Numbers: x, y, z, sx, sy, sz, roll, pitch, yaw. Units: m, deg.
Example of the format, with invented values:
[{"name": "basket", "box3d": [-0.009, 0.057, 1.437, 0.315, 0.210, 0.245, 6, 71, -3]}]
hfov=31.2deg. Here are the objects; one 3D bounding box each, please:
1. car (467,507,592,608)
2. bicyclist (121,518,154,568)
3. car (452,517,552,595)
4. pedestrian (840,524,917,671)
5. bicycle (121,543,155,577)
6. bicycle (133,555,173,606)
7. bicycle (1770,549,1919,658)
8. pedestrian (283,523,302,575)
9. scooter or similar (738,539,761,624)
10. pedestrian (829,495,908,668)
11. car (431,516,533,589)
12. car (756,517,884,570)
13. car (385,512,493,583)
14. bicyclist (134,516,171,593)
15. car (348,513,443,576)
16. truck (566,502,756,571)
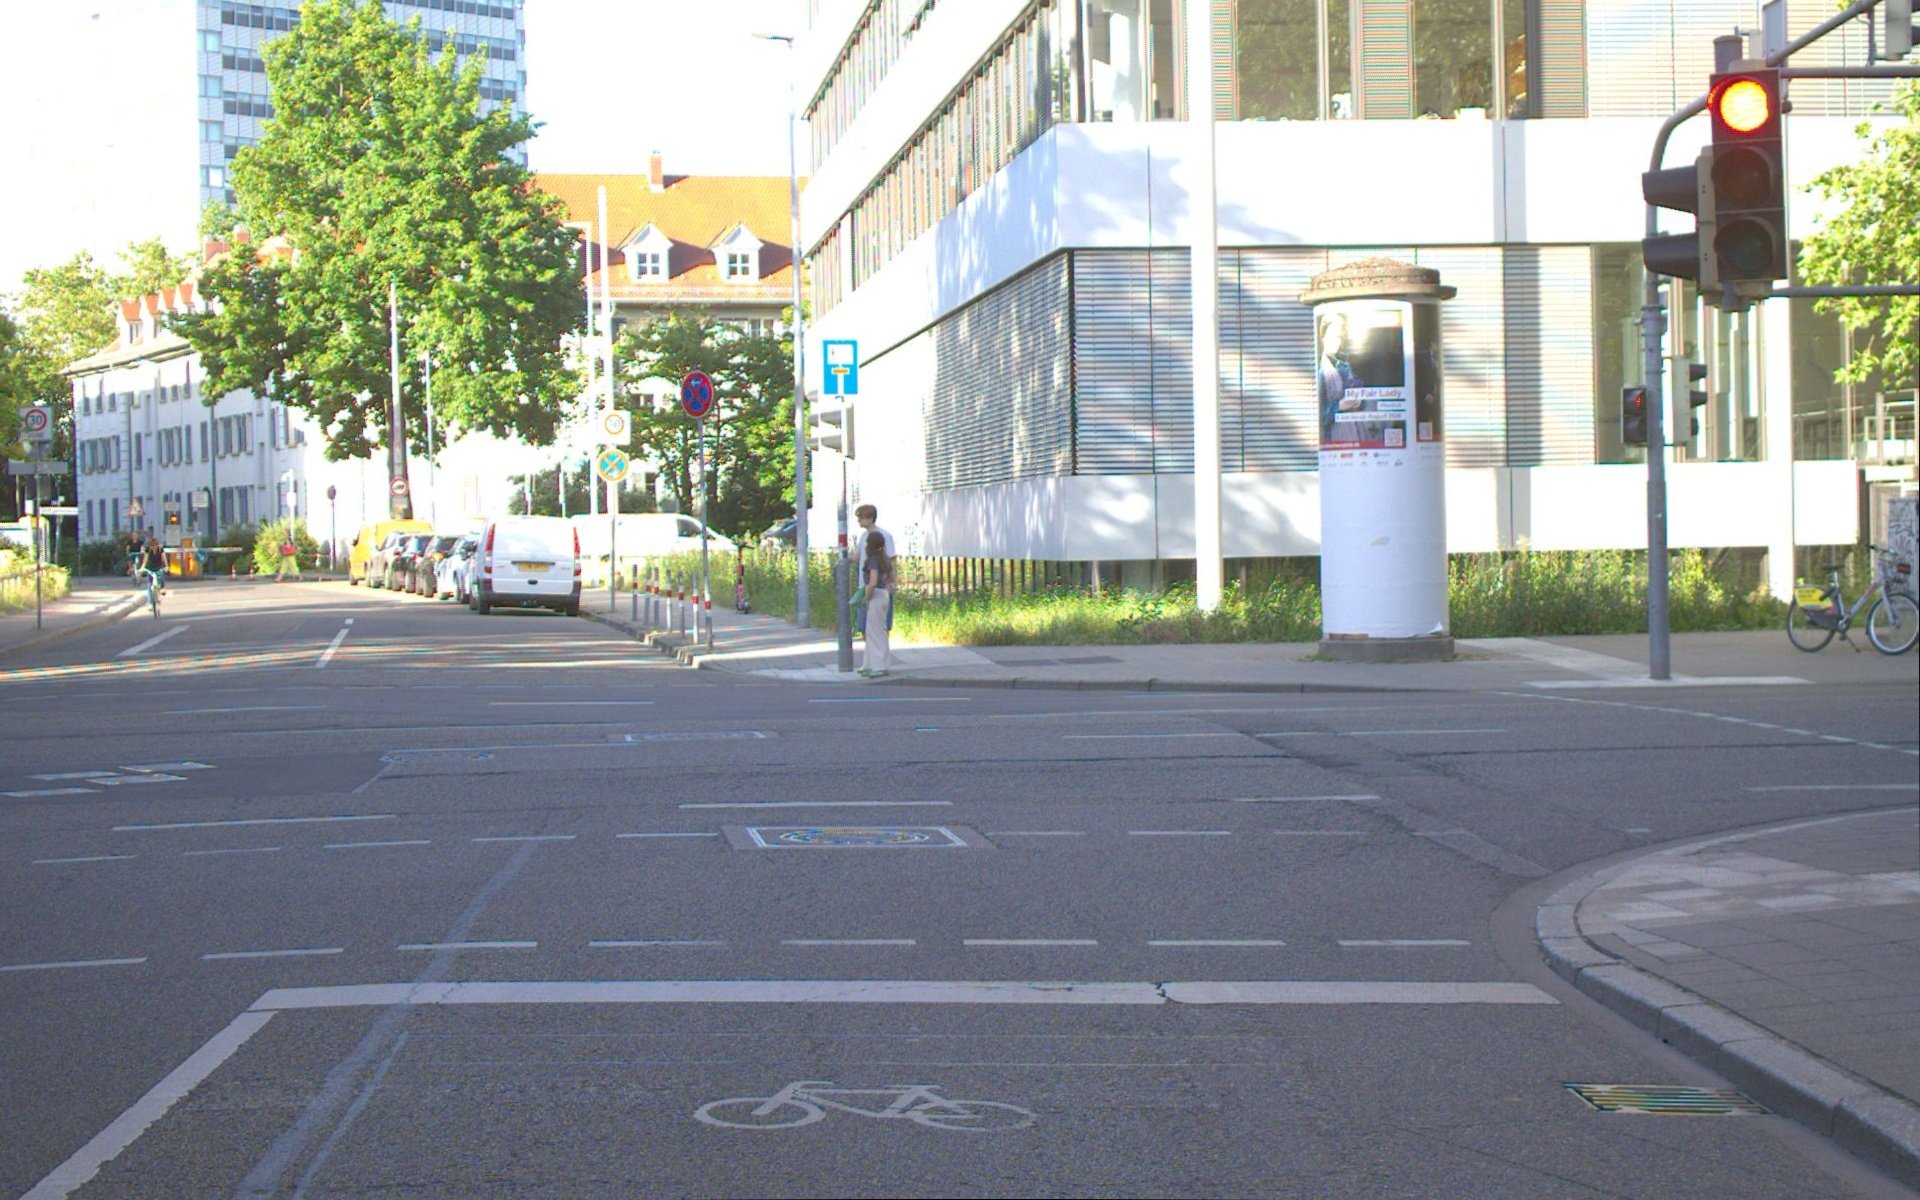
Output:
[{"name": "car", "box3d": [-8.126, -0.832, 64.631, 2.084, 1.789, 4.417, -1, 2, -10]}, {"name": "bicyclist", "box3d": [-25.977, -1.790, 108.576, 0.865, 1.510, 1.019, -4, 1, -11]}, {"name": "car", "box3d": [-9.744, -0.961, 72.948, 1.888, 1.550, 4.417, -1, 2, -10]}, {"name": "pedestrian", "box3d": [-0.887, -0.036, 37.209, 0.559, 1.535, 0.677, -5, 2, -18]}, {"name": "bicycle", "box3d": [-25.951, -1.255, 108.571, 0.865, 1.006, 2.415, -4, 1, -11]}, {"name": "bicycle", "box3d": [-16.245, -0.399, 69.231, 0.615, 0.966, 1.842, -2, 1, -9]}, {"name": "bicycle", "box3d": [9.312, 0.023, 36.042, 0.507, 1.045, 1.687, -4, 5, -35]}, {"name": "pedestrian", "box3d": [-20.924, -1.604, 107.788, 0.433, 1.602, 0.493, -2, 1, -26]}, {"name": "scooter or similar", "box3d": [-3.589, -0.319, 58.576, 0.330, 1.419, 1.335, 1, 0, -6]}, {"name": "pedestrian", "box3d": [-1.003, -0.207, 37.812, 0.560, 1.844, 0.677, -3, 2, 16]}, {"name": "car", "box3d": [-10.918, -1.106, 78.318, 1.888, 1.550, 4.417, -1, 2, -13]}, {"name": "car", "box3d": [-4.248, -1.719, 104.243, 3.554, 1.541, 1.559, -1, 1, -19]}, {"name": "car", "box3d": [-13.001, -1.323, 85.566, 1.888, 1.650, 4.417, -1, 2, -19]}, {"name": "bicyclist", "box3d": [-16.256, -0.925, 69.233, 0.615, 1.527, 0.903, -2, 1, -9]}, {"name": "car", "box3d": [-15.696, -1.564, 95.501, 1.888, 1.650, 4.417, -1, 2, -19]}, {"name": "truck", "box3d": [-8.963, -1.904, 103.056, 5.336, 2.007, 2.001, -1, 1, -19]}]
